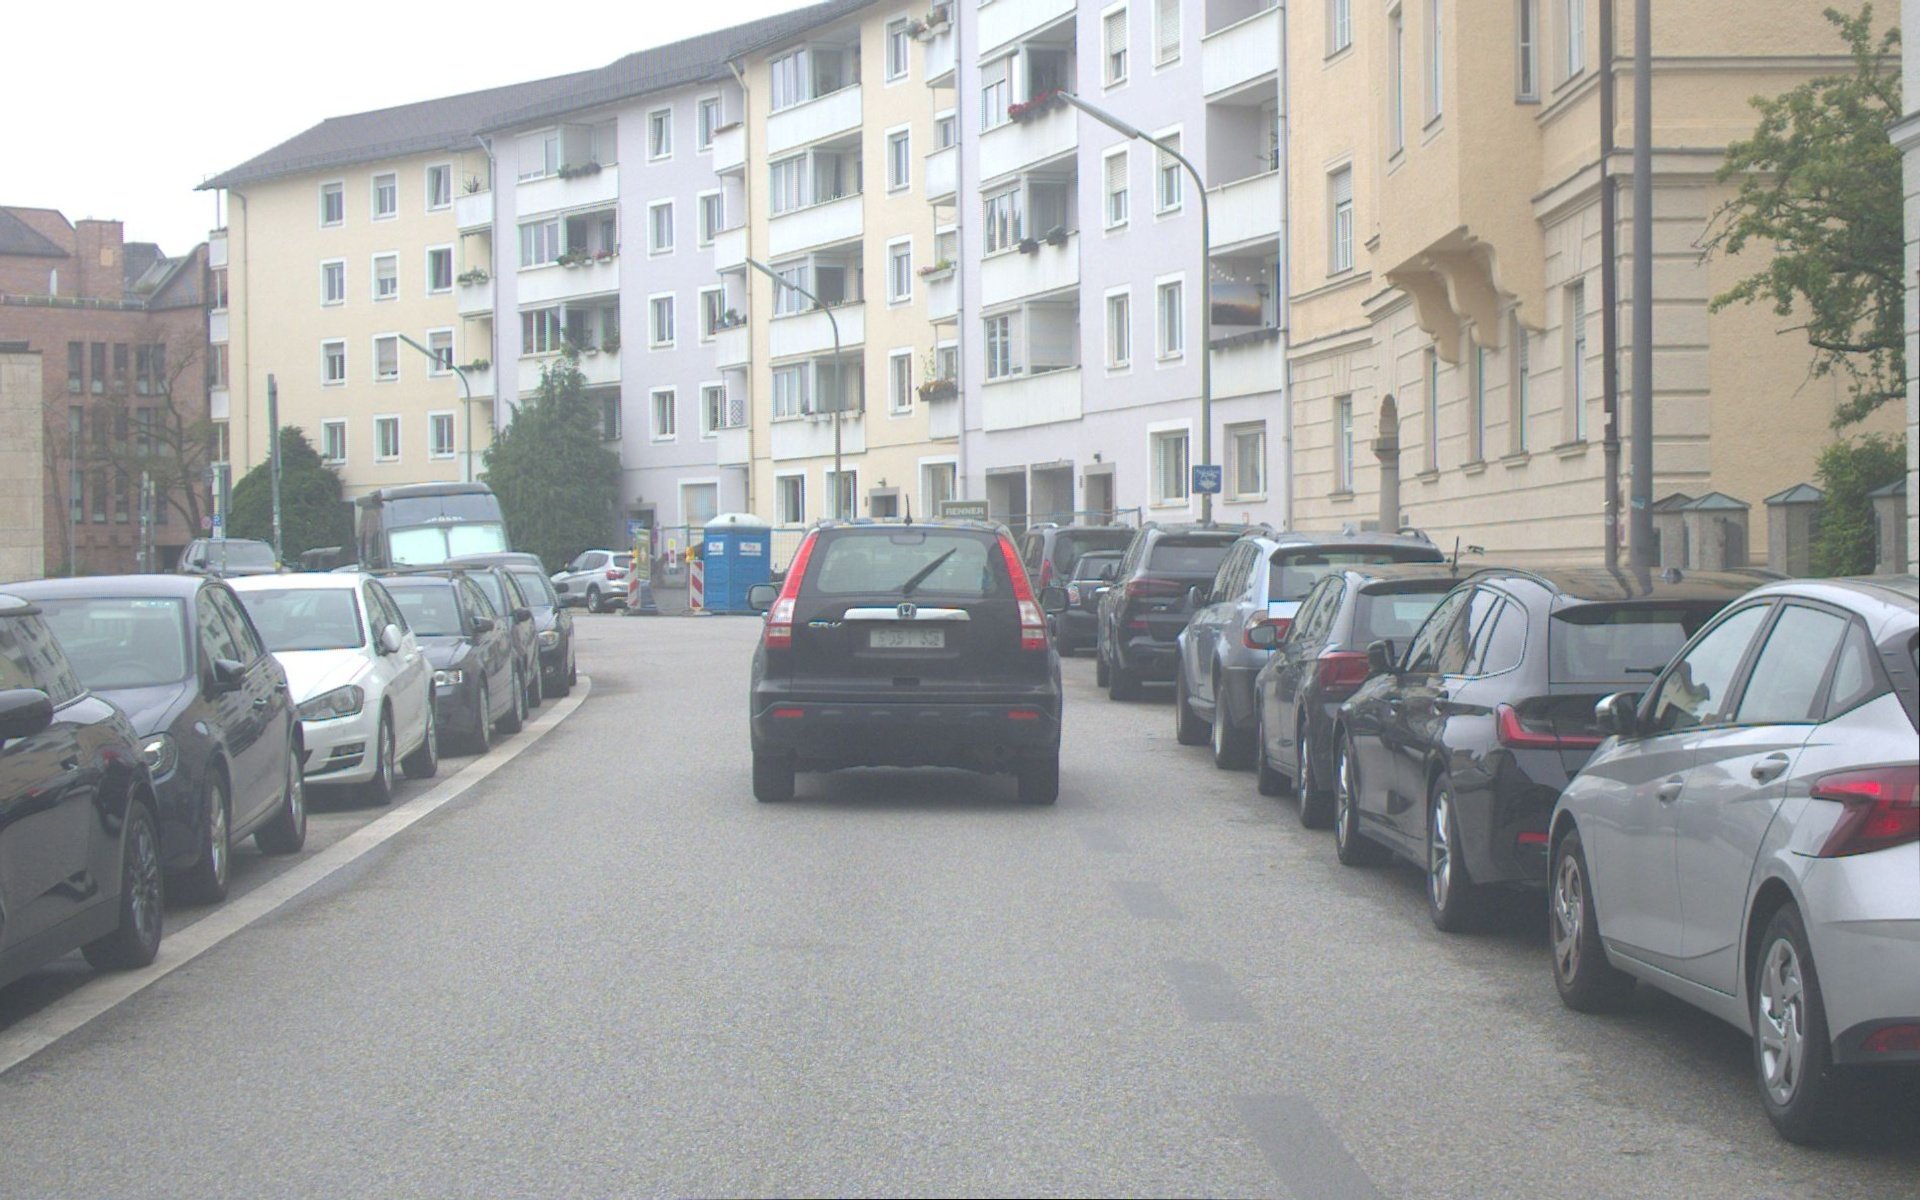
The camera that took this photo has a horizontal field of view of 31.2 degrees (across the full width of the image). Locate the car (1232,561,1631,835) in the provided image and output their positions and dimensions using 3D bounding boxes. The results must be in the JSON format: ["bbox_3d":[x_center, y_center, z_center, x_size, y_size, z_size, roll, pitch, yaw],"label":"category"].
[{"bbox_3d":[2.631,0.489,20.039,1.679,1.422,4.087,0,1,-1],"label":"car"}]

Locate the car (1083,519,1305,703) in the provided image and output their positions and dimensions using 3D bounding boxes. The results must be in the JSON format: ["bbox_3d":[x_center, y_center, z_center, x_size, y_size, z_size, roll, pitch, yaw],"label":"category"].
[{"bbox_3d":[2.313,0.075,35.113,1.869,1.711,4.866,1,1,0],"label":"car"}]

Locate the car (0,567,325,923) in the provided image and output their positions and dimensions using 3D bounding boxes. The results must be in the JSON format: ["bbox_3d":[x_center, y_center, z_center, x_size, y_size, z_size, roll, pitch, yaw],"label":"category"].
[{"bbox_3d":[-4.160,0.610,16.537,1.656,1.448,3.975,-2,1,-4],"label":"car"}]

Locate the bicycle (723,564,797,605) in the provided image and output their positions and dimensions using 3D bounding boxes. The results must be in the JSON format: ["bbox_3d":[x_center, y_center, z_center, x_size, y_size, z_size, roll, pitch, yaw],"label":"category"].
[{"bbox_3d":[-5.331,-0.419,91.615,1.865,1.087,0.566,0,1,-22],"label":"bicycle"}]

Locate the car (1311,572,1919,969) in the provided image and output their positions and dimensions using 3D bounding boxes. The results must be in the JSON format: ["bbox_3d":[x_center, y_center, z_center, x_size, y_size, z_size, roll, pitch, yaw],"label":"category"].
[{"bbox_3d":[2.642,0.600,14.697,1.679,1.422,4.391,0,1,-2],"label":"car"}]

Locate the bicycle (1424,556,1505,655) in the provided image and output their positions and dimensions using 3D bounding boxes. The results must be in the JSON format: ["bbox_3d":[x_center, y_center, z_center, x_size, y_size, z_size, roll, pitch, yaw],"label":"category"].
[{"bbox_3d":[5.834,0.052,39.861,0.579,1.079,1.953,-3,1,-1],"label":"bicycle"}]

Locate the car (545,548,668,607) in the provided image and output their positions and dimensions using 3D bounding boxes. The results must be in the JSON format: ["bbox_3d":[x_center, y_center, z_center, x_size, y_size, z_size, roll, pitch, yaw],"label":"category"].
[{"bbox_3d":[-9.143,-0.586,88.688,1.724,1.478,4.001,0,1,-28],"label":"car"}]

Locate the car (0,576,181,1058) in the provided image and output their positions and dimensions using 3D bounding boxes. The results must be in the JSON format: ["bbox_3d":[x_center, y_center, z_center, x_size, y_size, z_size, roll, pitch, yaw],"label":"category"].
[{"bbox_3d":[-3.820,0.694,11.285,1.680,1.448,3.870,-2,1,-1],"label":"car"}]

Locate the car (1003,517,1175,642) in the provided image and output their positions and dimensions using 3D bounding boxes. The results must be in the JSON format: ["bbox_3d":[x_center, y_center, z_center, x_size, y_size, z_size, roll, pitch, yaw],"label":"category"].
[{"bbox_3d":[1.910,-0.327,52.224,1.777,1.800,4.277,1,1,-9],"label":"car"}]

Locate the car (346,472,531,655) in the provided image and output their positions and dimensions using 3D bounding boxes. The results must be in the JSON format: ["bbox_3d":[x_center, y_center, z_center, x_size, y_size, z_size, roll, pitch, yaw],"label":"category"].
[{"bbox_3d":[-8.188,-0.593,53.518,2.163,2.632,6.019,-2,1,-15],"label":"car"}]

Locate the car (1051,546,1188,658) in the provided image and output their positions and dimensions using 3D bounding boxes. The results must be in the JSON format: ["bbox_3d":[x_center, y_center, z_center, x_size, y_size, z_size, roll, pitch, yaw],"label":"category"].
[{"bbox_3d":[2.141,0.002,46.984,1.708,1.442,3.830,1,1,0],"label":"car"}]

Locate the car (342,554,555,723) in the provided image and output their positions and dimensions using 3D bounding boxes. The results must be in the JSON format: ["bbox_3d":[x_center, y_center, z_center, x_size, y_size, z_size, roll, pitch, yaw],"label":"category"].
[{"bbox_3d":[-4.776,0.323,32.466,1.656,1.448,3.313,-2,1,-4],"label":"car"}]

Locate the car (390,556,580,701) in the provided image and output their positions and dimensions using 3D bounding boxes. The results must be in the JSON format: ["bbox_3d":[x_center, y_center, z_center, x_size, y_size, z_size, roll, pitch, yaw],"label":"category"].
[{"bbox_3d":[-5.090,0.260,37.294,1.799,1.401,4.456,-2,1,-5],"label":"car"}]

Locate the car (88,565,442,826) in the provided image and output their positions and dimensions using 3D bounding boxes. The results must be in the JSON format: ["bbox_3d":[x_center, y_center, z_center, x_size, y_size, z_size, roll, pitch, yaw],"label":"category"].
[{"bbox_3d":[-4.391,0.541,22.251,1.656,1.448,4.074,-2,1,-4],"label":"car"}]

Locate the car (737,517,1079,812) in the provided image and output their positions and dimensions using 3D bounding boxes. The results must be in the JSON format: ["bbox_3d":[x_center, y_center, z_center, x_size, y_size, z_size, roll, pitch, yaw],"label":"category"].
[{"bbox_3d":[-0.416,0.335,21.228,1.890,1.642,3.992,0,1,-4],"label":"car"}]

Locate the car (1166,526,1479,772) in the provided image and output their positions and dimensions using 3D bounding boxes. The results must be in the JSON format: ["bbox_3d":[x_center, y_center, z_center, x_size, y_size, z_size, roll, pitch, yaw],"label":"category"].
[{"bbox_3d":[2.546,0.299,25.084,1.722,1.628,4.458,0,1,-1],"label":"car"}]

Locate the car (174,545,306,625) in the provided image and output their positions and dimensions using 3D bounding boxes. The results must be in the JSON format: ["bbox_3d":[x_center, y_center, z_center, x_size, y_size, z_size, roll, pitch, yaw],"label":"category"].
[{"bbox_3d":[-15.843,-0.335,75.522,1.679,1.701,4.514,-1,1,-27],"label":"car"}]

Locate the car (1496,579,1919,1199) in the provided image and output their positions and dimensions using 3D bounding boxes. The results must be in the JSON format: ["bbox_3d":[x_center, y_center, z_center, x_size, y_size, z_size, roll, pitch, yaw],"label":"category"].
[{"bbox_3d":[2.816,0.663,10.118,1.679,1.422,4.167,0,1,-2],"label":"car"}]

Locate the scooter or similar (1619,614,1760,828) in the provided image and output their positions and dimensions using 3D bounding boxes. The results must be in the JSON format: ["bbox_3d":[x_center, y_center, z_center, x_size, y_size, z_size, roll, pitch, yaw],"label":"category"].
[{"bbox_3d":[4.095,0.662,19.355,0.484,1.160,1.172,0,0,-3],"label":"scooter or similar"}]

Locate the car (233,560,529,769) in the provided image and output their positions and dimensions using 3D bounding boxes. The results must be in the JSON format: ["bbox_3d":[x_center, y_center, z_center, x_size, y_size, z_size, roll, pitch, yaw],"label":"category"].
[{"bbox_3d":[-4.519,0.447,27.409,1.755,1.448,4.396,-2,1,-2],"label":"car"}]
